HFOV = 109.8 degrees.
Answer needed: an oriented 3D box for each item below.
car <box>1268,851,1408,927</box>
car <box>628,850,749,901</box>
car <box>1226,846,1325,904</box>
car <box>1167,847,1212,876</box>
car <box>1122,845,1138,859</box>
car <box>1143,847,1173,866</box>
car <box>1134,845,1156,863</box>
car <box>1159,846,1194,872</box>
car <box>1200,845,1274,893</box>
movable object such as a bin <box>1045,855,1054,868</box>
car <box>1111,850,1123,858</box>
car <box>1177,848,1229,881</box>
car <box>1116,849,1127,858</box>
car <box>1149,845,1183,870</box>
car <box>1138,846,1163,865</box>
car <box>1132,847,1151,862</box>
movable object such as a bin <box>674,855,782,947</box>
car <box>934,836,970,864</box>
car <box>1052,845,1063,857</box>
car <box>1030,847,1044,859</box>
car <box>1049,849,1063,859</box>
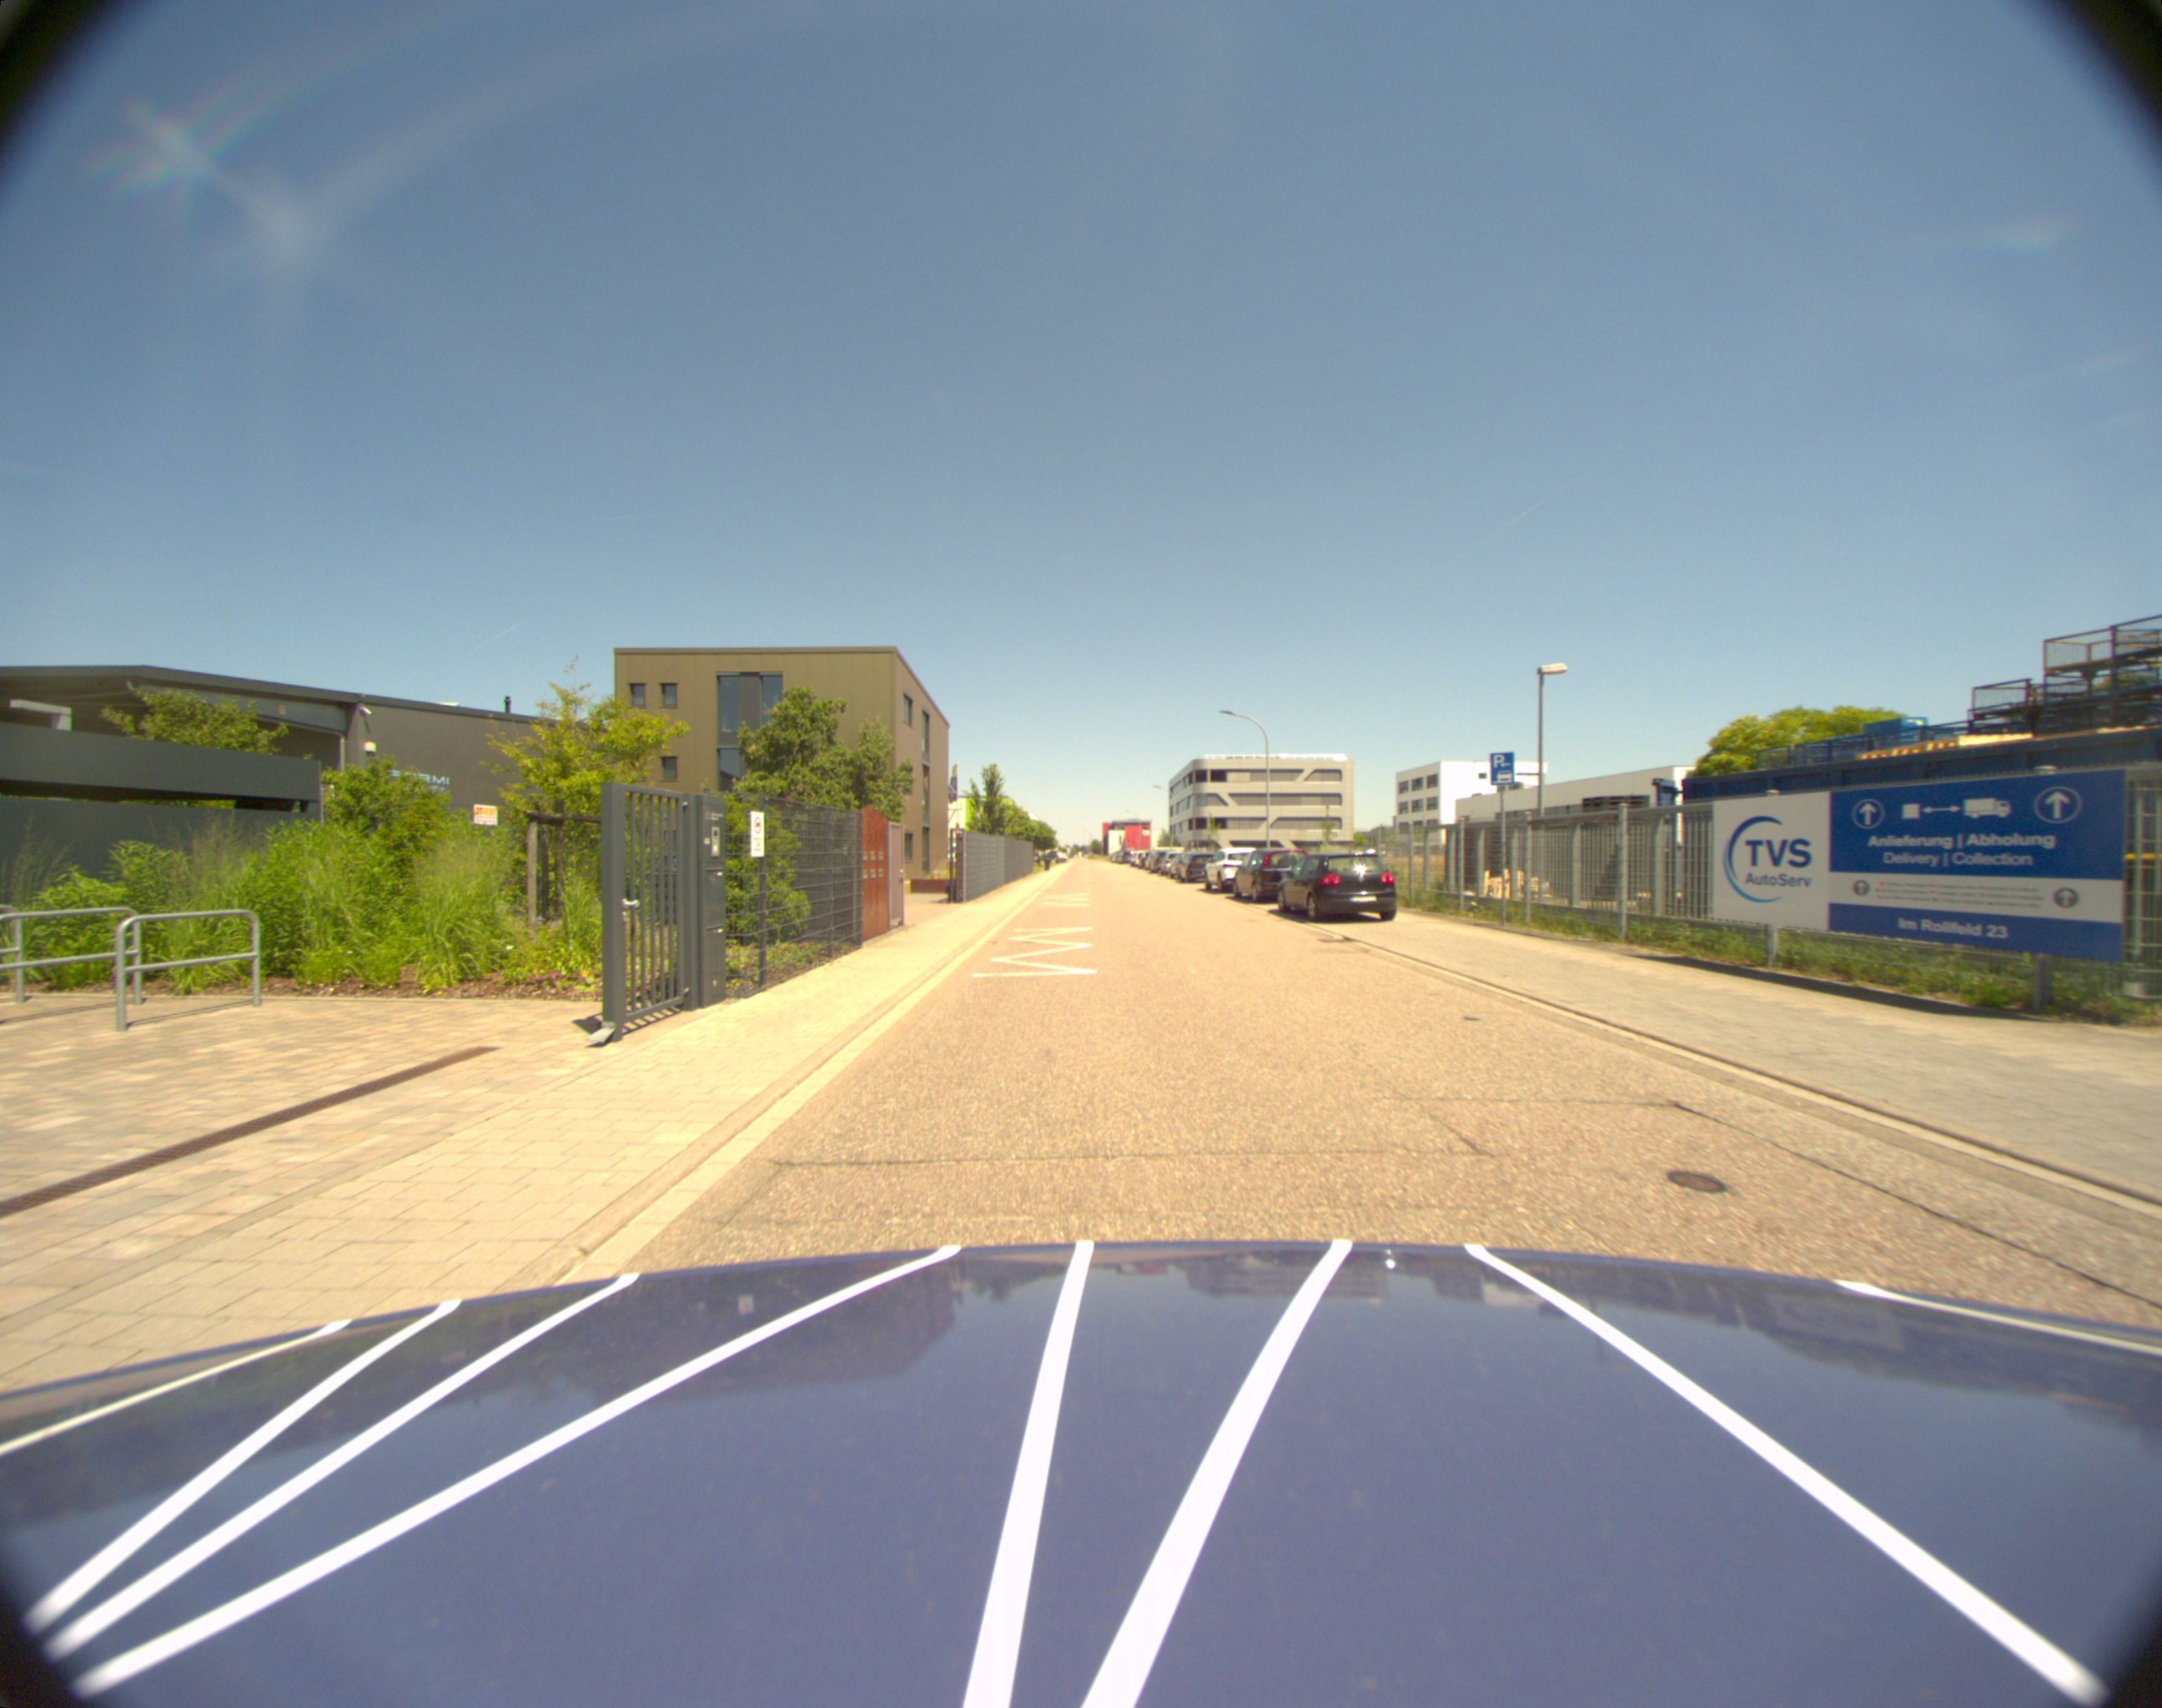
[{"bbox_3d":[5.702,0.689,17.468,1.773,1.453,4.333,-2,1,1],"label":"car"},{"bbox_3d":[-12.035,0.598,23.603,1.659,1.436,3.999,0,1,0],"label":"car"},{"bbox_3d":[5.800,0.562,23.213,1.773,1.547,4.500,-2,1,-1],"label":"car"},{"bbox_3d":[6.034,0.387,42.570,1.779,1.472,4.815,-1,1,0],"label":"car"},{"bbox_3d":[6.374,-0.223,99.426,1.807,1.709,4.622,-2,0,1],"label":"car"},{"bbox_3d":[6.238,0.184,61.893,1.768,1.442,4.199,-2,1,-2],"label":"car"},{"bbox_3d":[6.242,-0.006,74.503,1.791,1.647,3.768,-1,1,0],"label":"car"},{"bbox_3d":[5.961,0.292,47.876,1.698,1.516,3.734,-1,1,0],"label":"car"},{"bbox_3d":[5.717,0.488,28.348,1.773,1.583,4.359,-2,1,-1],"label":"car"},{"bbox_3d":[-2.441,0.575,59.057,0.553,0.923,0.522,4,2,10],"label":"movable object such as a bin"},{"bbox_3d":[6.401,-0.049,135.642,1.704,1.377,3.937,-1,-1,-2],"label":"car"},{"bbox_3d":[5.901,0.460,37.135,1.862,1.472,4.229,-1,1,0],"label":"car"},{"bbox_3d":[6.783,-0.063,127.059,1.688,1.378,4.639,-1,0,1],"label":"car"},{"bbox_3d":[5.909,0.199,53.090,1.795,1.598,4.462,-1,1,0],"label":"car"},{"bbox_3d":[6.101,0.108,67.023,1.767,1.508,4.379,-2,1,0],"label":"car"},{"bbox_3d":[6.275,0.004,79.498,1.791,1.533,4.365,-1,0,2],"label":"car"},{"bbox_3d":[-5.817,0.750,12.589,1.337,1.451,0.948,0,1,0],"label":"movable object such as a bin"},{"bbox_3d":[-12.239,-0.368,72.649,2.135,2.480,7.024,2,1,0],"label":"car"},{"bbox_3d":[-4.531,-0.505,144.349,1.999,2.001,5.801,0,-2,-1],"label":"car"},{"bbox_3d":[-6.245,-0.092,108.250,1.727,1.623,4.022,-1,0,0],"label":"car"},{"bbox_3d":[-3.533,-0.047,108.231,1.696,1.419,4.246,-1,0,0],"label":"car"}]
